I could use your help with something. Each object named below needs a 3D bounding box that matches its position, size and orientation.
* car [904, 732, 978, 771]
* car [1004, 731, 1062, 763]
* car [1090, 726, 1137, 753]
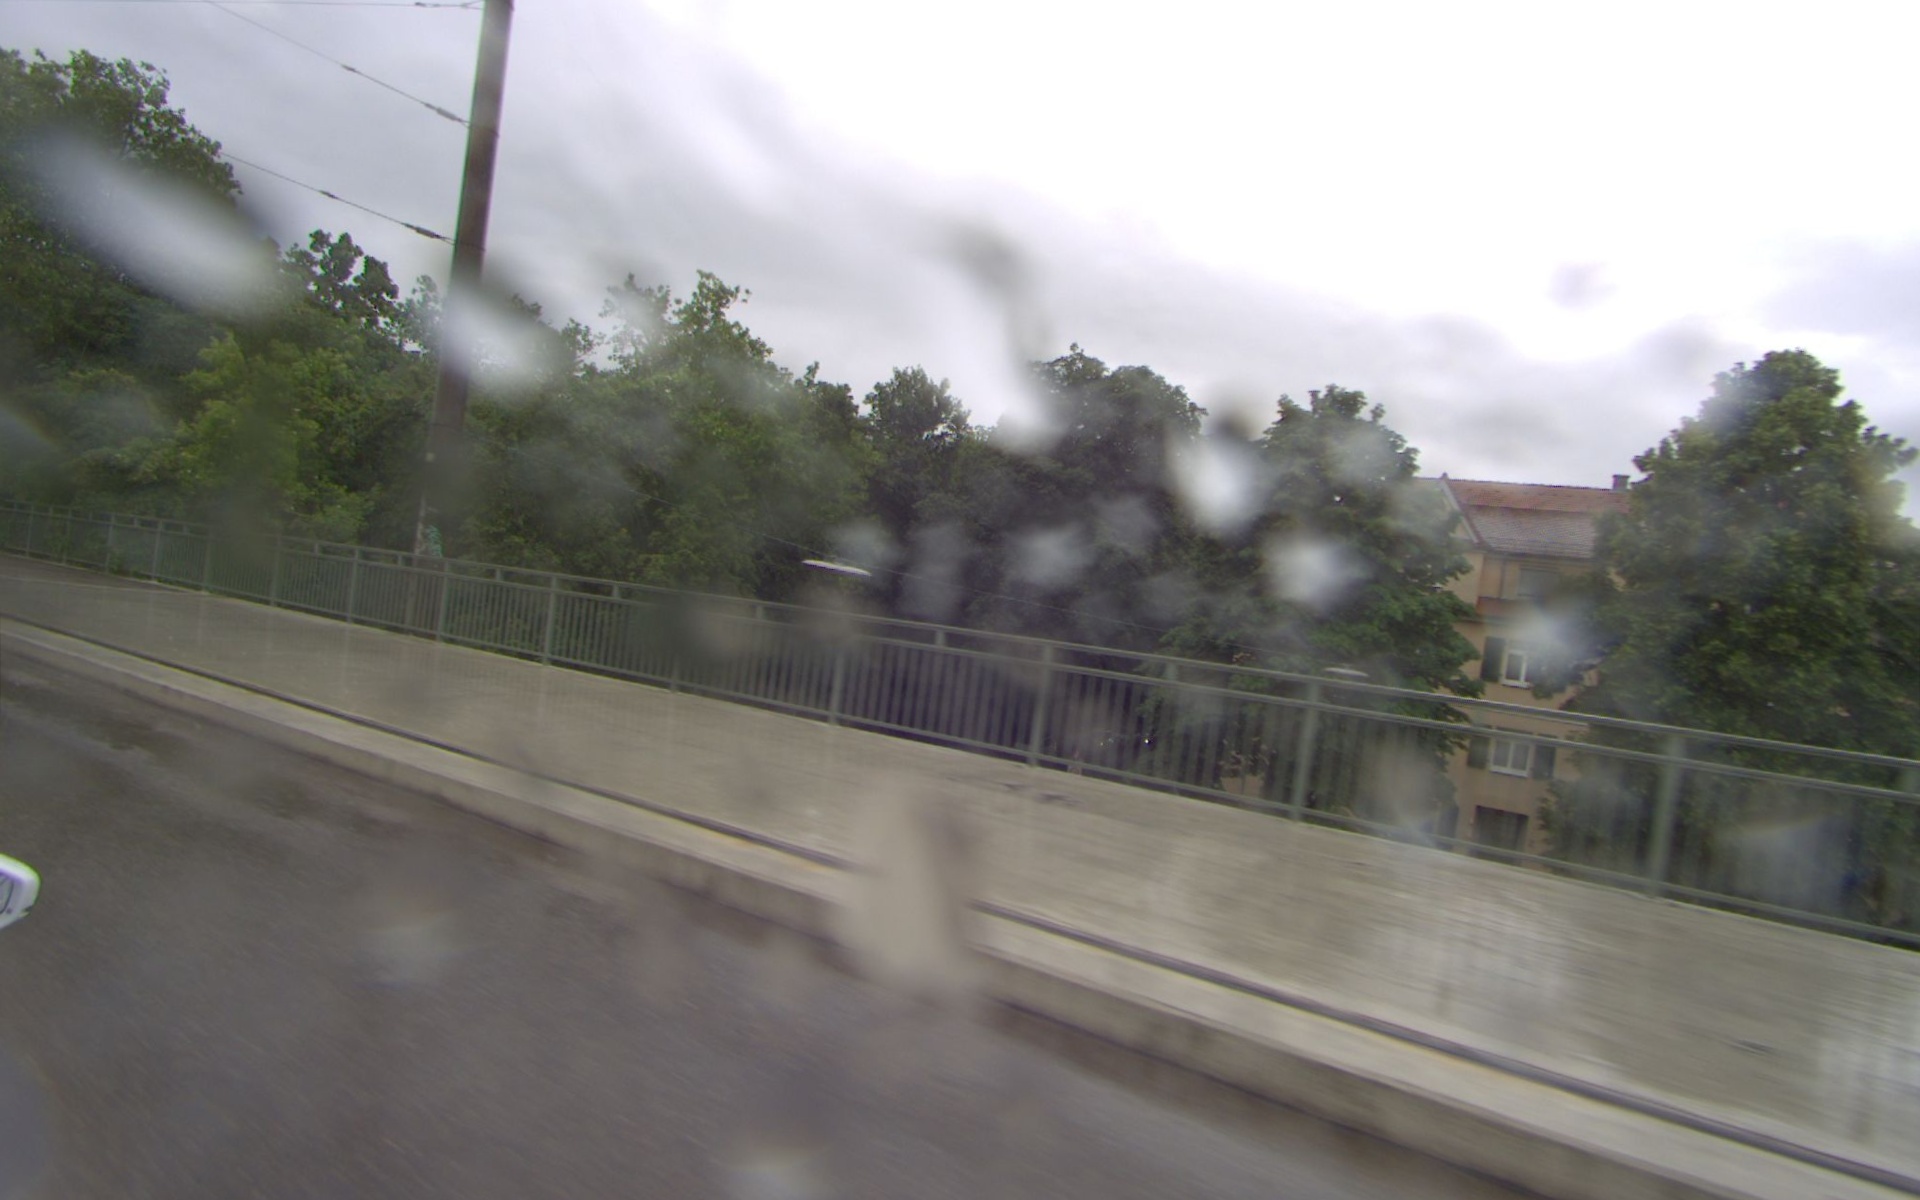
[{"bbox_3d":[-0.907,7.490,50.080,1.815,1.436,3.998,8,-2,28],"label":"car"},{"bbox_3d":[4.360,8.665,59.536,1.815,1.436,3.998,8,-2,28],"label":"car"},{"bbox_3d":[10.746,9.702,70.180,1.815,1.436,3.998,8,-2,28],"label":"car"}]
